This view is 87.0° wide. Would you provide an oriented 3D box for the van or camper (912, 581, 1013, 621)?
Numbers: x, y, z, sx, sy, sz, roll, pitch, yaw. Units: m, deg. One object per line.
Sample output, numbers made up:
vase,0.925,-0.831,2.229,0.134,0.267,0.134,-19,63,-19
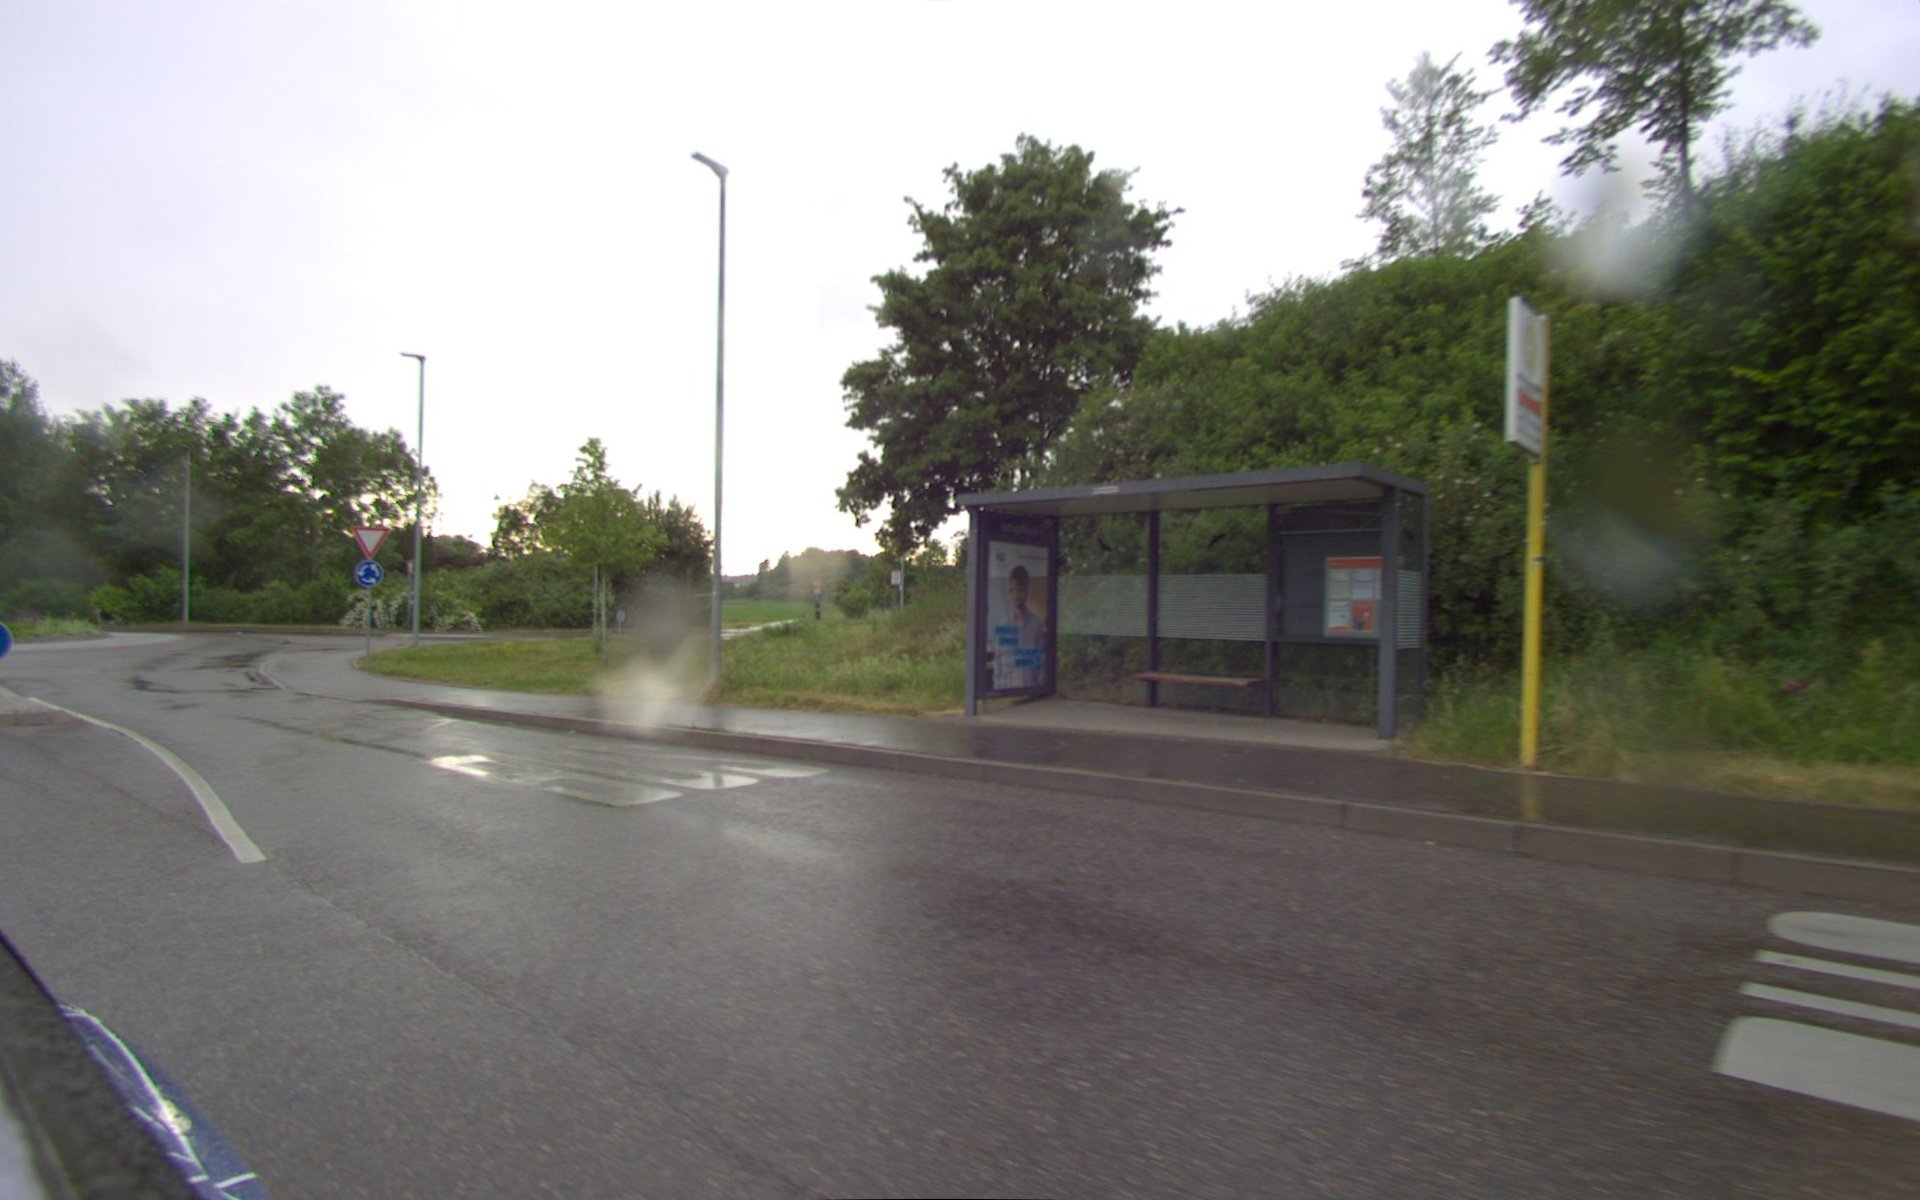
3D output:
van or camper,0.156,0.028,66.601,6.100,2.512,2.540,0,1,-23
